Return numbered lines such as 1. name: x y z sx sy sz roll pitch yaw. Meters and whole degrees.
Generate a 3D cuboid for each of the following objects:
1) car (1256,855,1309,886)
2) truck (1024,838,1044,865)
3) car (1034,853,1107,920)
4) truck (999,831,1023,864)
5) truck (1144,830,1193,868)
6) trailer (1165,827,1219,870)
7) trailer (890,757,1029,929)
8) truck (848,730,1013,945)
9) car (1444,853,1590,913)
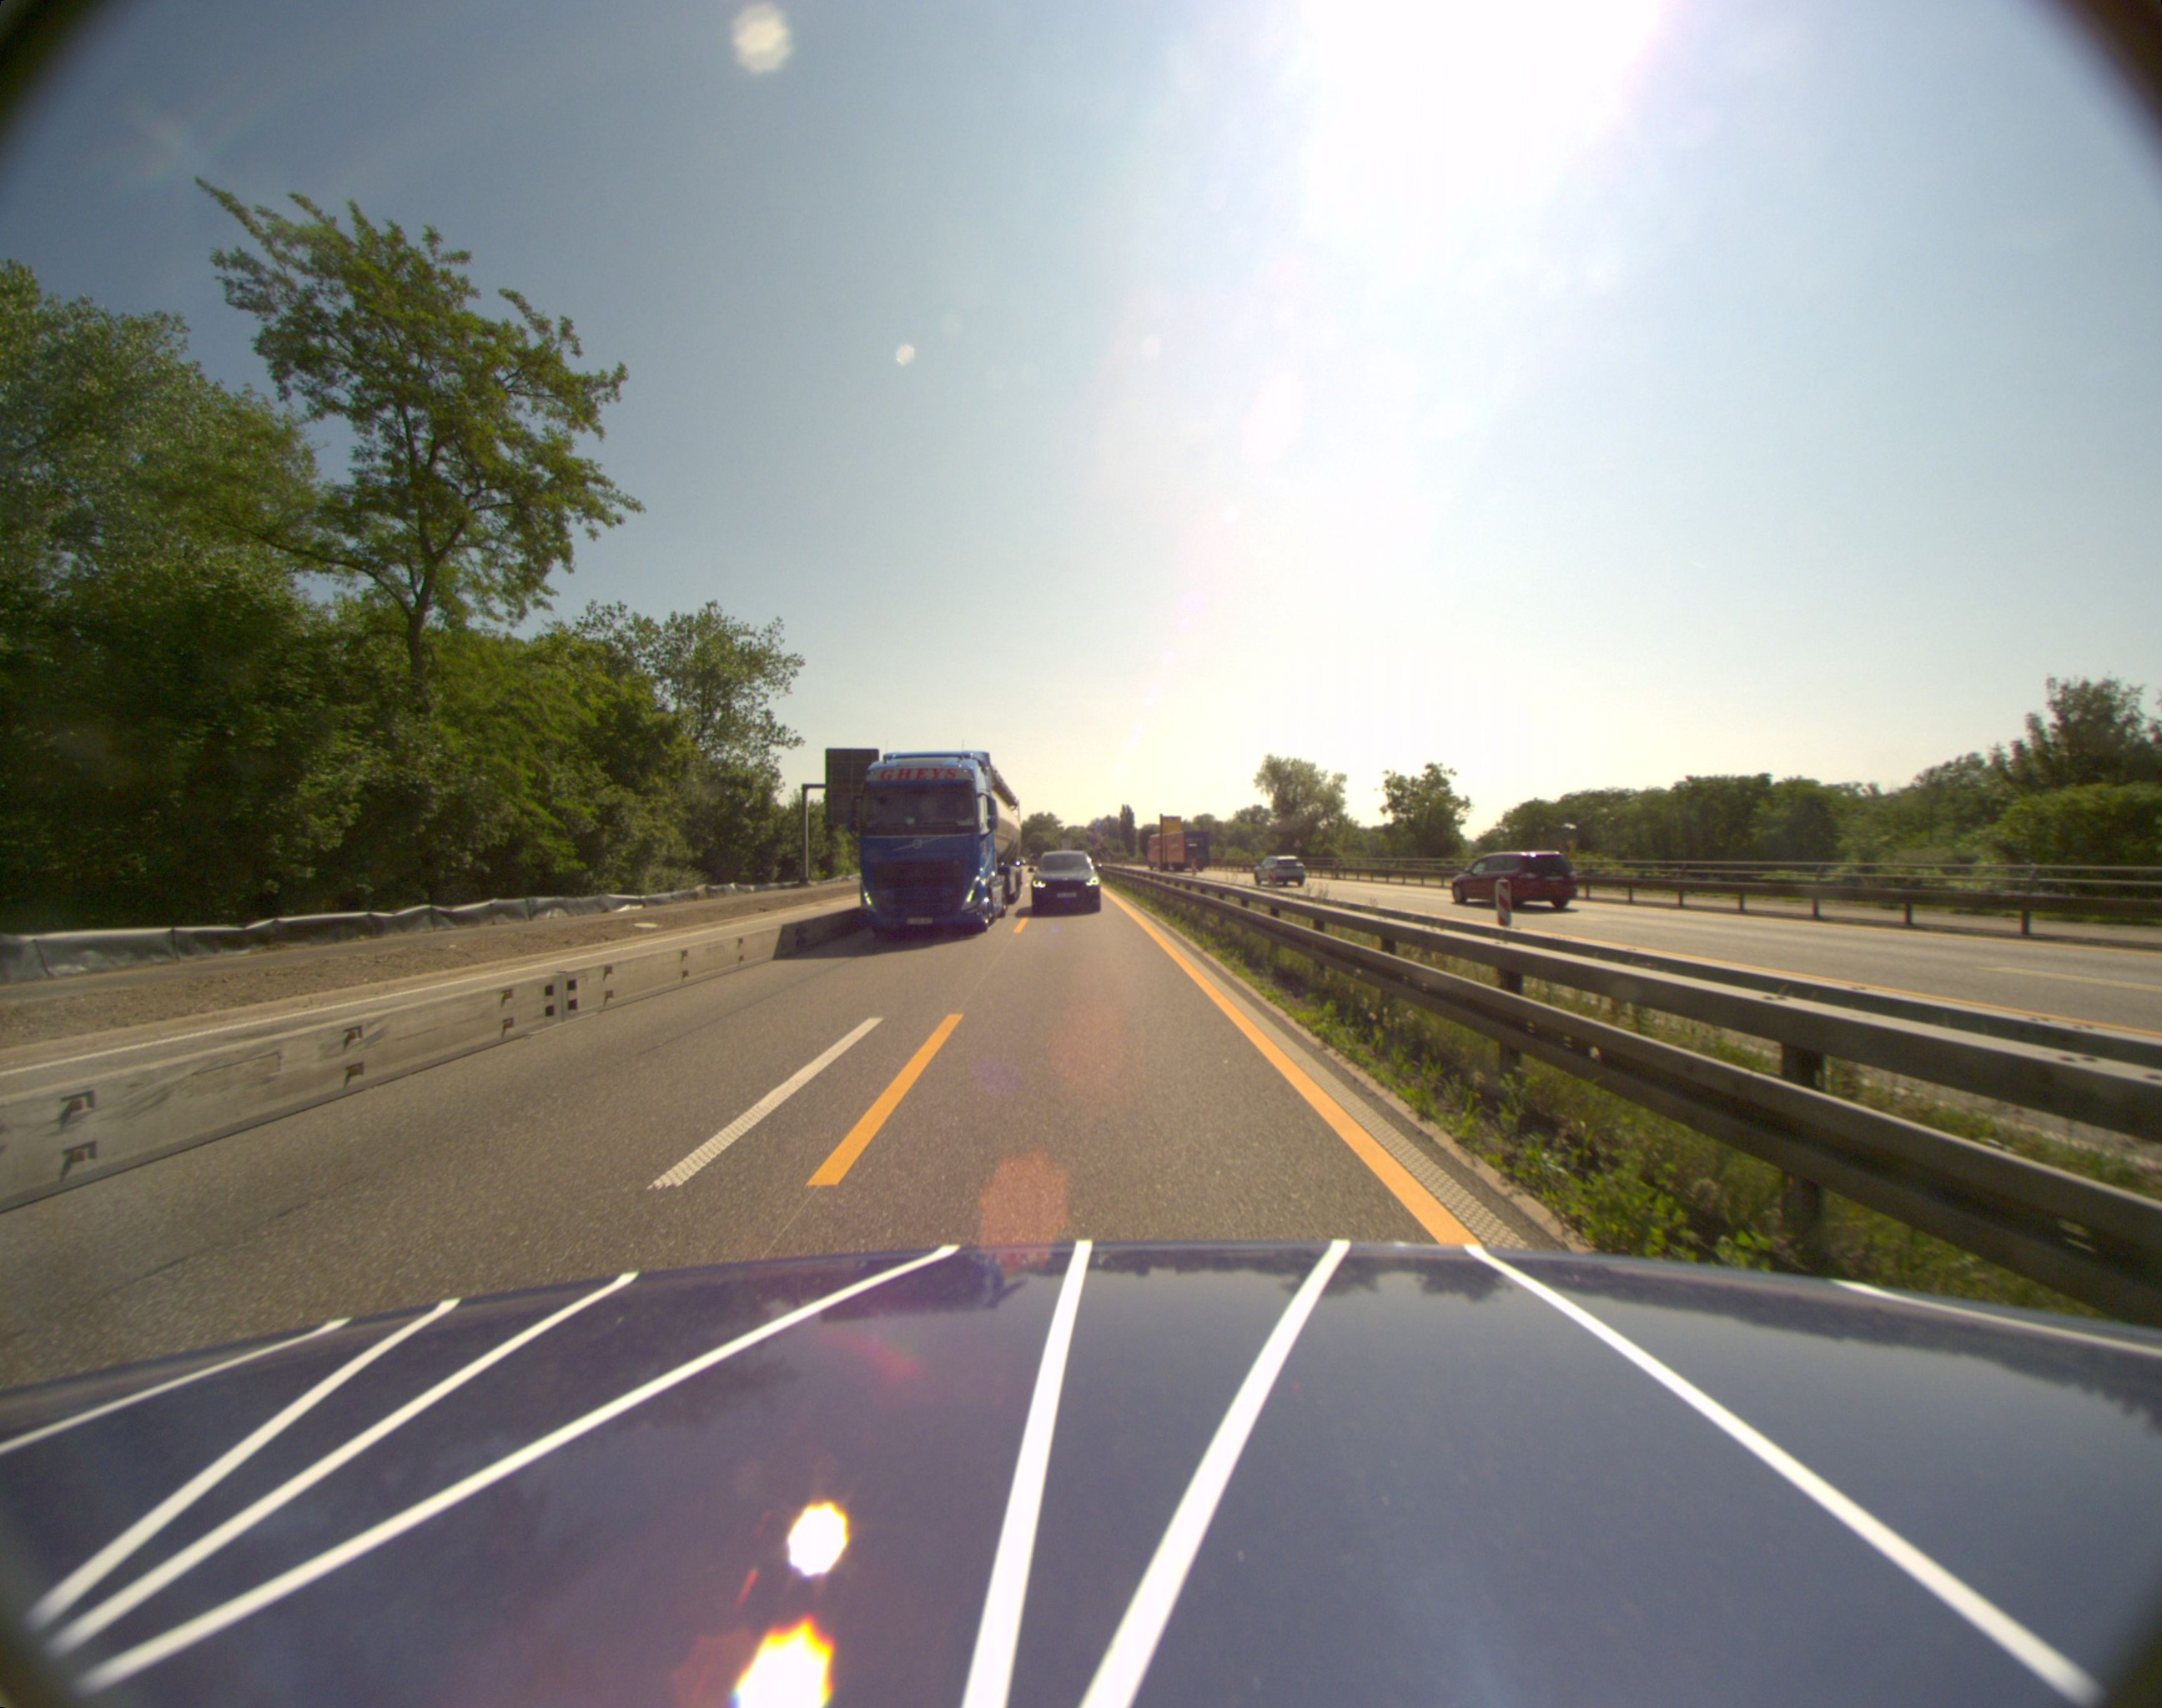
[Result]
1. car: 11.209 0.878 42.522 1.914 1.641 4.376 0 0 1
2. truck: -7.334 -0.412 117.875 2.862 3.961 8.662 1 0 -4
3. car: -0.409 0.834 21.875 1.790 1.651 4.485 -2 0 -4
4. truck: -8.770 -0.803 96.311 2.862 3.961 8.662 1 0 -4
5. truck: 10.086 -0.518 88.880 3.047 4.067 10.617 -2 0 -8
6. trailer: 11.369 -0.524 78.767 3.047 4.067 9.782 -2 0 -6
7. trailer: -3.372 -0.239 24.746 2.701 4.113 12.613 1 0 -1
8. truck: -3.223 -0.295 18.251 2.701 4.078 7.299 1 0 -2
9. car: 13.828 0.830 24.515 1.914 1.724 5.020 0 0 1
